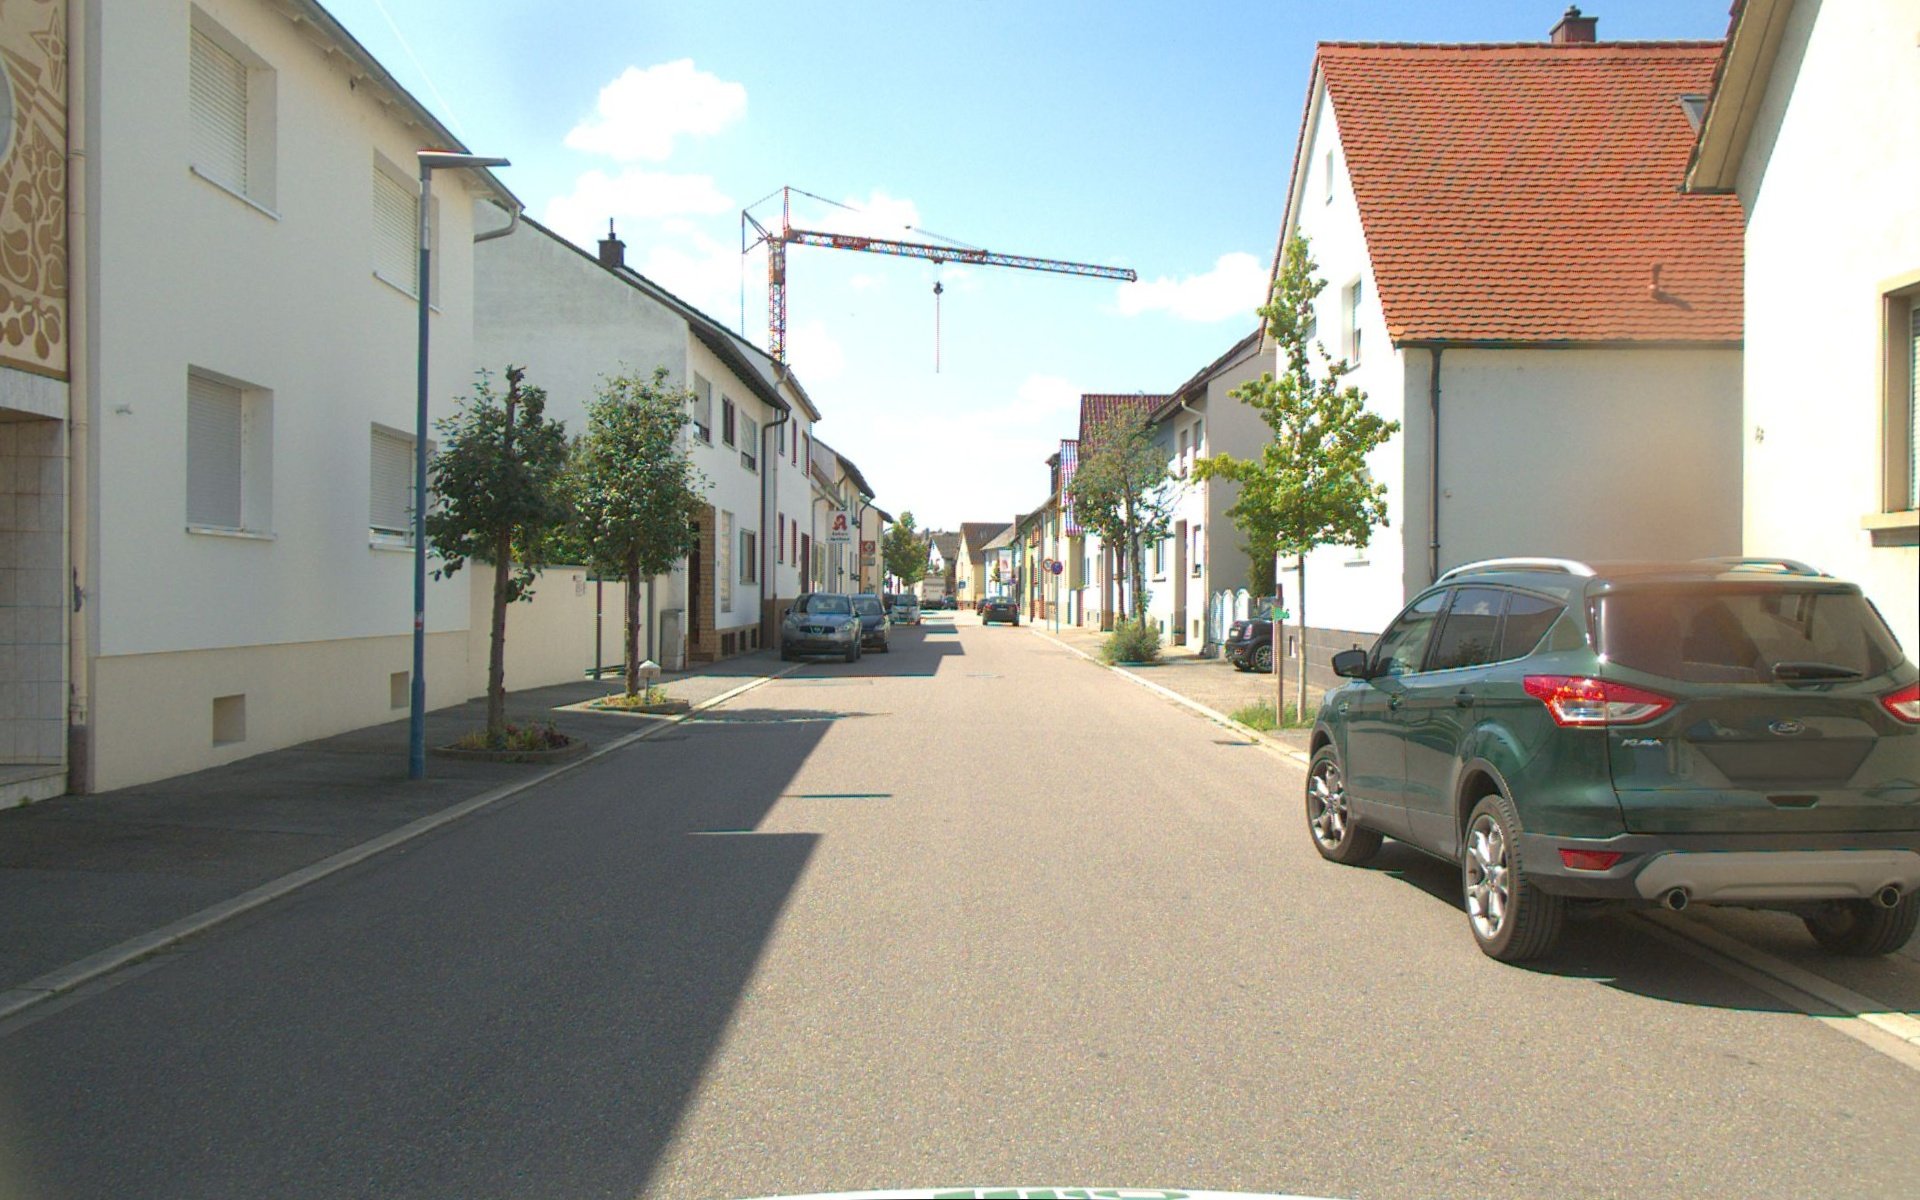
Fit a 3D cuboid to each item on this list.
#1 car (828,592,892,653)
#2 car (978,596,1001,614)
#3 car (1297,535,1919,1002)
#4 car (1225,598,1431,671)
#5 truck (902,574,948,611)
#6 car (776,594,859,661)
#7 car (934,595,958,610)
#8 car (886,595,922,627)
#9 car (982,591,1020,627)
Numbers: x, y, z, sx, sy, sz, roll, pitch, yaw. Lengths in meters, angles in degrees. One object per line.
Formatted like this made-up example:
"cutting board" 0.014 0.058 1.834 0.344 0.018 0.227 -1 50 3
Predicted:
"car" -2.777 0.591 46.615 1.619 1.637 4.060 0 0 -1
"car" 2.575 0.455 146.161 1.747 1.591 4.335 -1 0 -2
"car" 3.061 0.627 8.355 1.694 1.747 4.274 0 0 -2
"car" 7.477 0.692 33.837 3.841 1.439 1.740 0 0 0
"truck" -3.923 -0.782 182.637 3.316 3.933 13.898 -1 0 -8
"car" -3.419 0.624 40.342 1.722 1.551 4.288 0 0 -1
"car" -1.621 0.293 193.225 1.754 1.784 4.209 -1 0 -17
"car" -2.877 0.546 85.950 1.688 1.583 4.172 2 0 0
"car" 2.053 0.469 84.204 1.746 1.784 3.999 -1 0 -1
